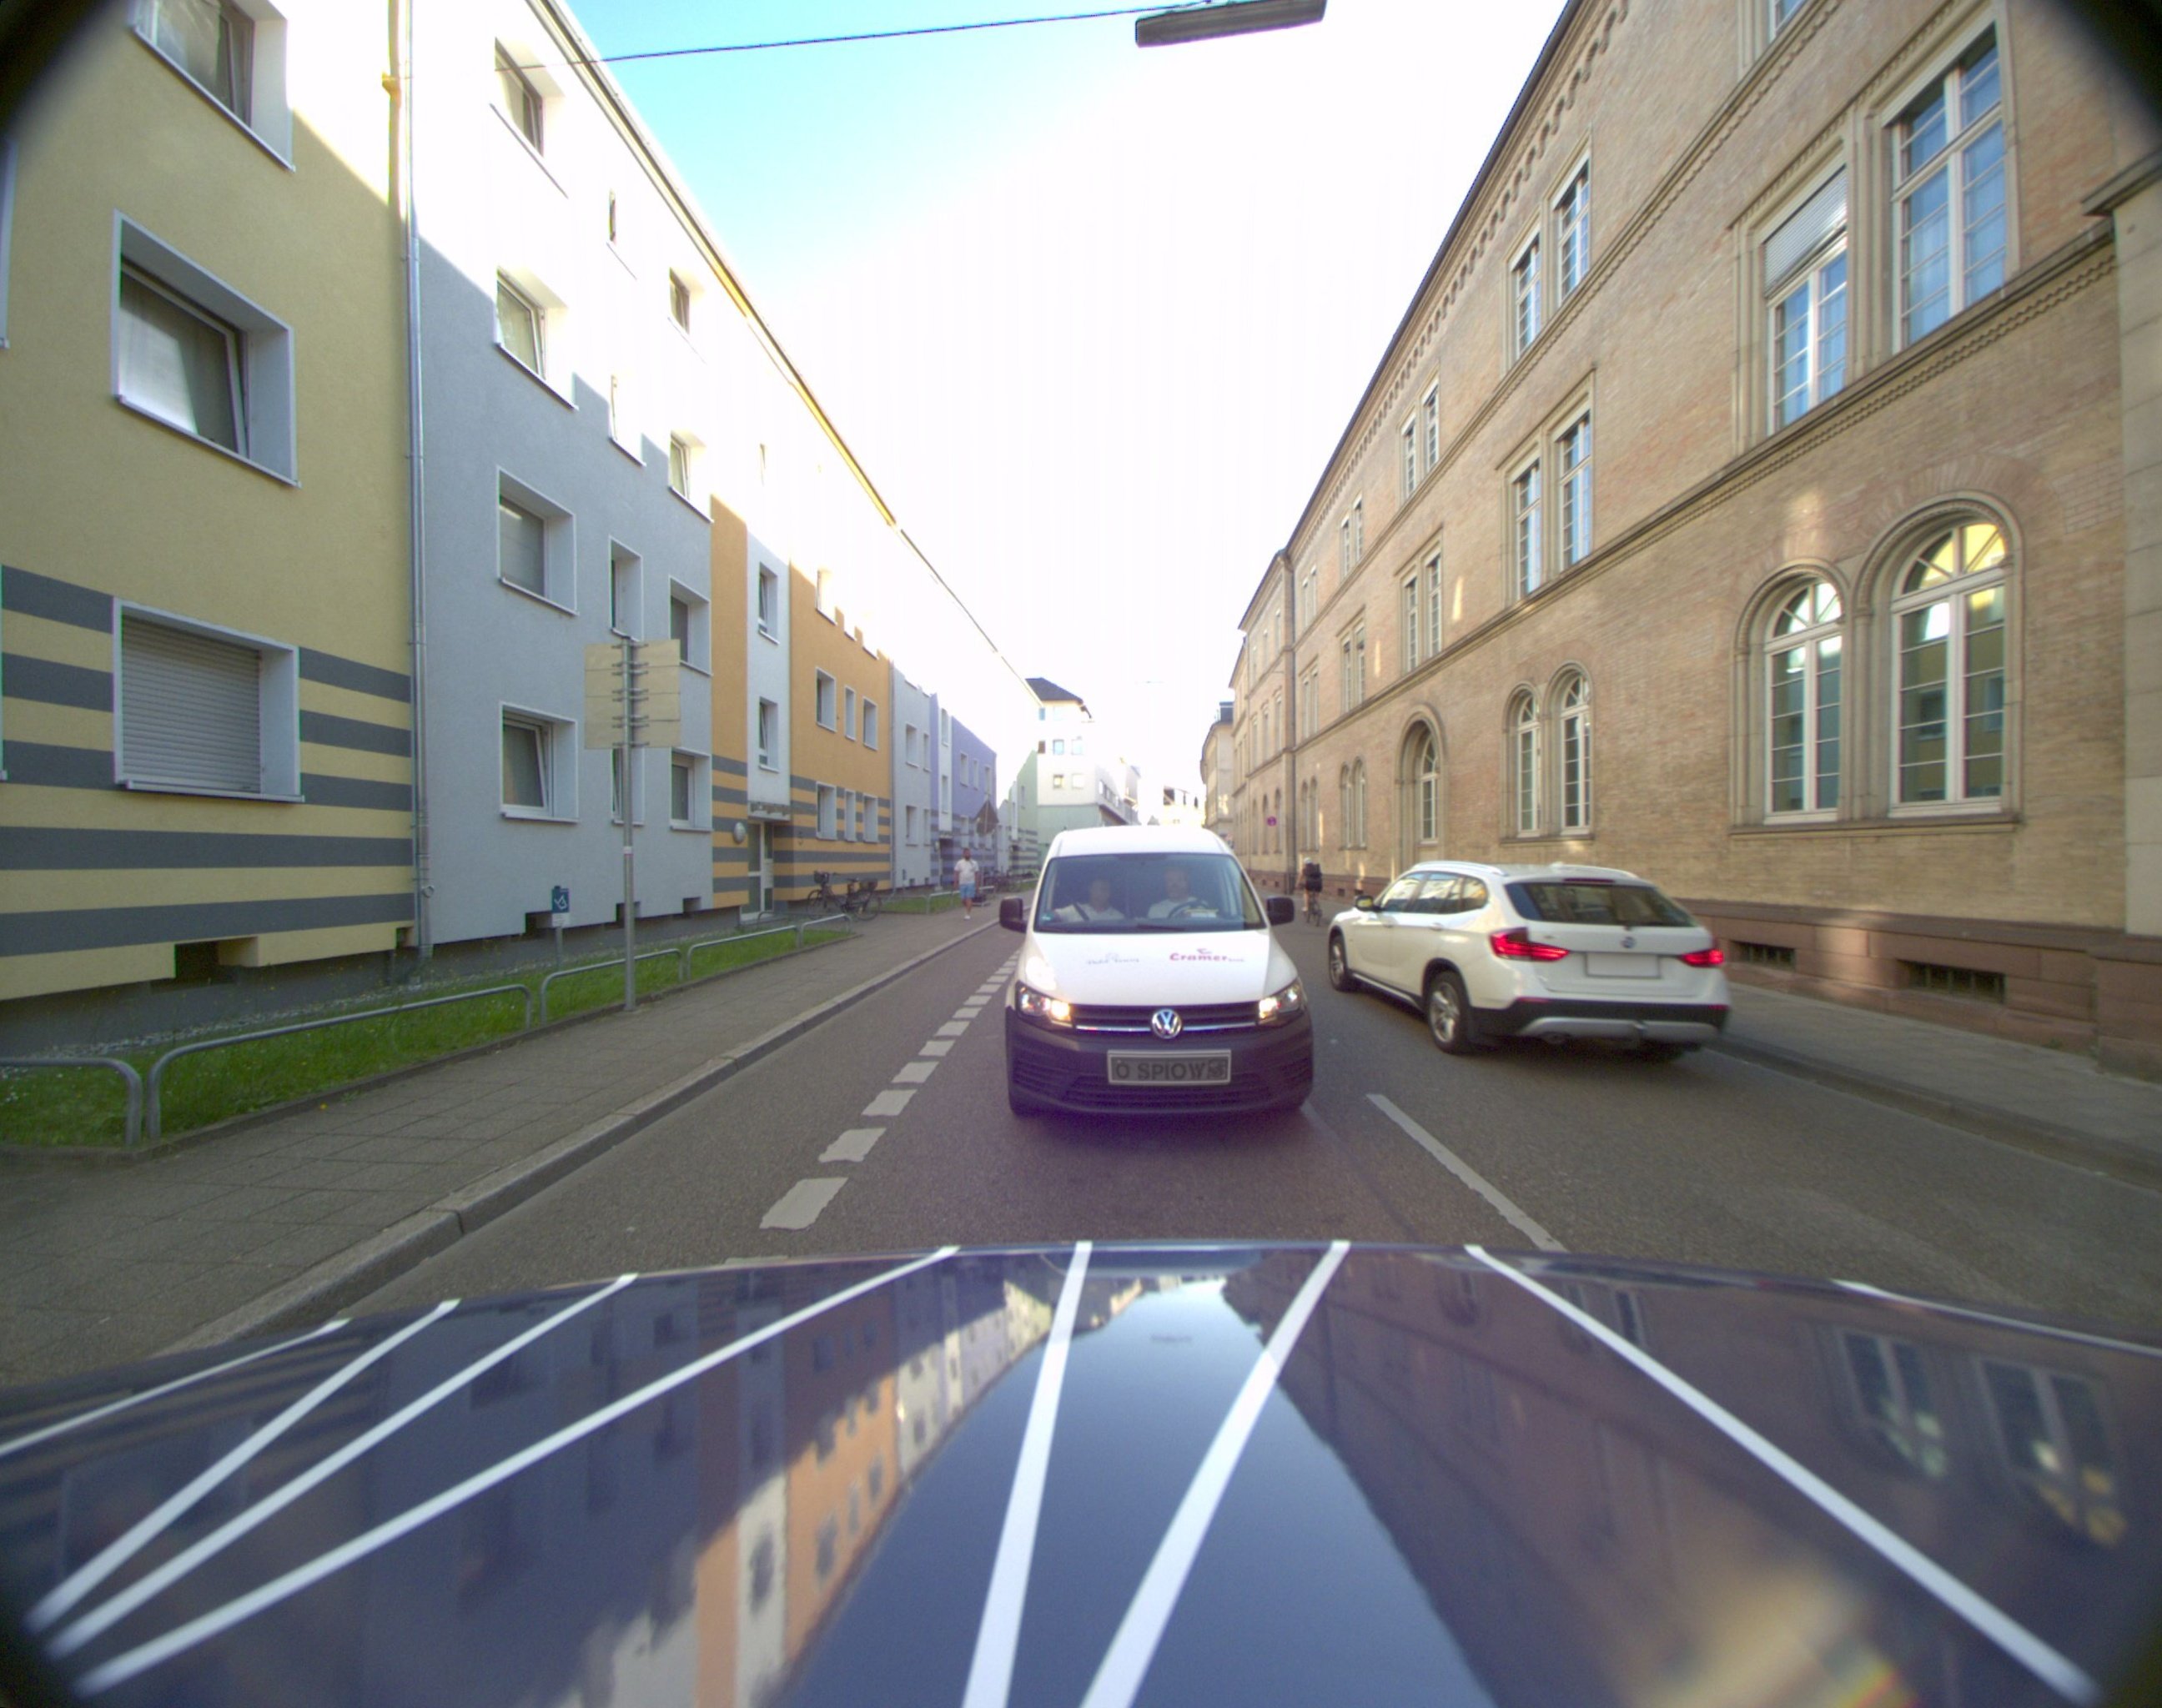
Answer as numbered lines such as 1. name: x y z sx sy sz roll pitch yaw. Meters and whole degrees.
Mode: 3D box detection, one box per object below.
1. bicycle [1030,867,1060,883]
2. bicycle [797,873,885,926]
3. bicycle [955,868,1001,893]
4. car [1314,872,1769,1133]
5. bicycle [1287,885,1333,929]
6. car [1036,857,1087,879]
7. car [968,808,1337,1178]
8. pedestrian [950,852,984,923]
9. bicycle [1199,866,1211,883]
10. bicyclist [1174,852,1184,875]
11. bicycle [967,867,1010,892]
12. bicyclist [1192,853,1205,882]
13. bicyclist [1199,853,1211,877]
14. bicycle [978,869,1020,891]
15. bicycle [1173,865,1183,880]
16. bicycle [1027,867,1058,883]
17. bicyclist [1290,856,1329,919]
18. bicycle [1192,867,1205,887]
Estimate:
1. bicycle: -2.231 1.316 47.625 1.775 0.934 0.584 1 1 7
2. bicycle: -5.391 1.021 17.117 1.776 1.118 0.583 1 1 -1
3. bicycle: -4.322 1.117 31.874 1.775 0.990 0.584 1 1 7
4. car: 3.688 1.027 7.144 1.689 1.573 4.275 2 0 1
5. bicycle: 5.502 1.263 18.325 0.687 0.919 1.767 2 0 5
6. car: -1.589 1.143 63.491 3.995 1.681 1.901 -2 1 5
7. car: 0.391 0.698 6.438 1.819 1.825 5.341 0 0 1
8. pedestrian: -2.763 0.795 18.442 0.644 1.662 0.834 1 0 3
9. bicycle: 7.883 1.310 48.401 0.651 1.001 1.876 2 0 6
10. bicyclist: 6.690 0.642 51.943 0.546 1.524 0.870 2 0 10
11. bicycle: -4.045 1.107 33.216 1.775 0.990 0.584 1 1 7
12. bicyclist: 6.507 0.752 41.943 0.651 1.558 0.961 2 0 10
13. bicyclist: 7.894 0.679 48.424 0.651 1.500 1.112 2 0 5
14. bicycle: -3.655 1.144 33.832 1.775 0.934 0.584 1 1 7
15. bicycle: 6.635 1.231 51.721 0.546 1.001 1.758 2 0 10
16. bicycle: -2.311 1.285 46.087 1.775 0.934 0.584 1 1 7
17. bicyclist: 5.497 0.790 18.305 0.687 1.467 0.871 2 0 5
18. bicycle: 6.502 1.264 41.955 0.651 1.001 1.808 2 0 10
